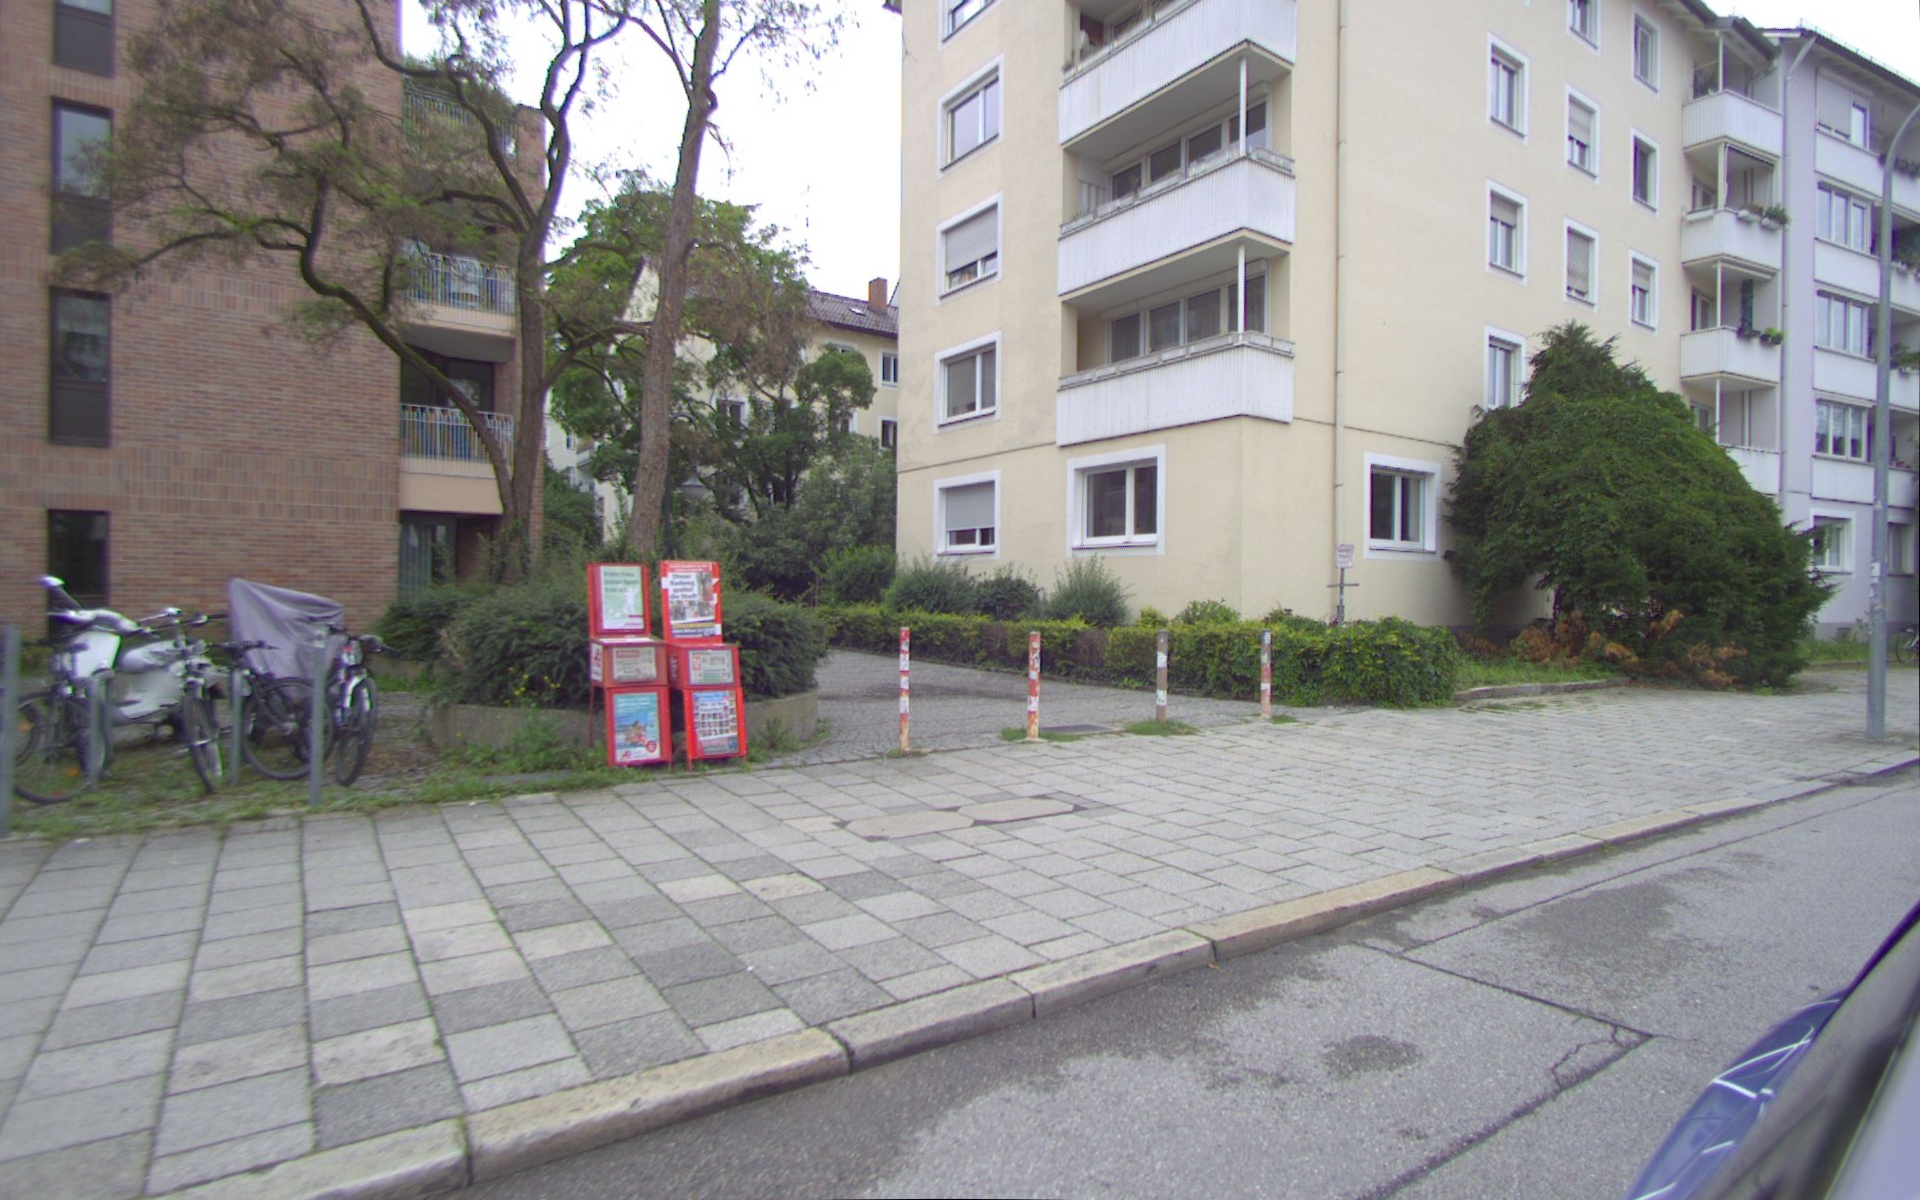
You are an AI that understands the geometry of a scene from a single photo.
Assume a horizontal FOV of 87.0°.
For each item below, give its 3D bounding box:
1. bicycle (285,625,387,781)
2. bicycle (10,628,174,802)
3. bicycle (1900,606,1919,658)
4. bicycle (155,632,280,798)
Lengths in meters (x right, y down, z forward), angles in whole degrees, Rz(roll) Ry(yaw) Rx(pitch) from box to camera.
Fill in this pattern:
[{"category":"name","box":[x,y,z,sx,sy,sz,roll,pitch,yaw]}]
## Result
[{"category":"bicycle","box":[-4.487,0.679,7.288,0.535,0.978,1.707,2,-2,-32]},{"category":"bicycle","box":[-5.650,0.685,6.674,0.535,0.978,1.707,2,-2,-32]},{"category":"bicycle","box":[21.671,0.711,22.274,1.903,1.131,0.470,1,1,-15]},{"category":"bicycle","box":[-5.069,0.722,6.987,0.535,0.978,1.707,2,-2,-32]}]
